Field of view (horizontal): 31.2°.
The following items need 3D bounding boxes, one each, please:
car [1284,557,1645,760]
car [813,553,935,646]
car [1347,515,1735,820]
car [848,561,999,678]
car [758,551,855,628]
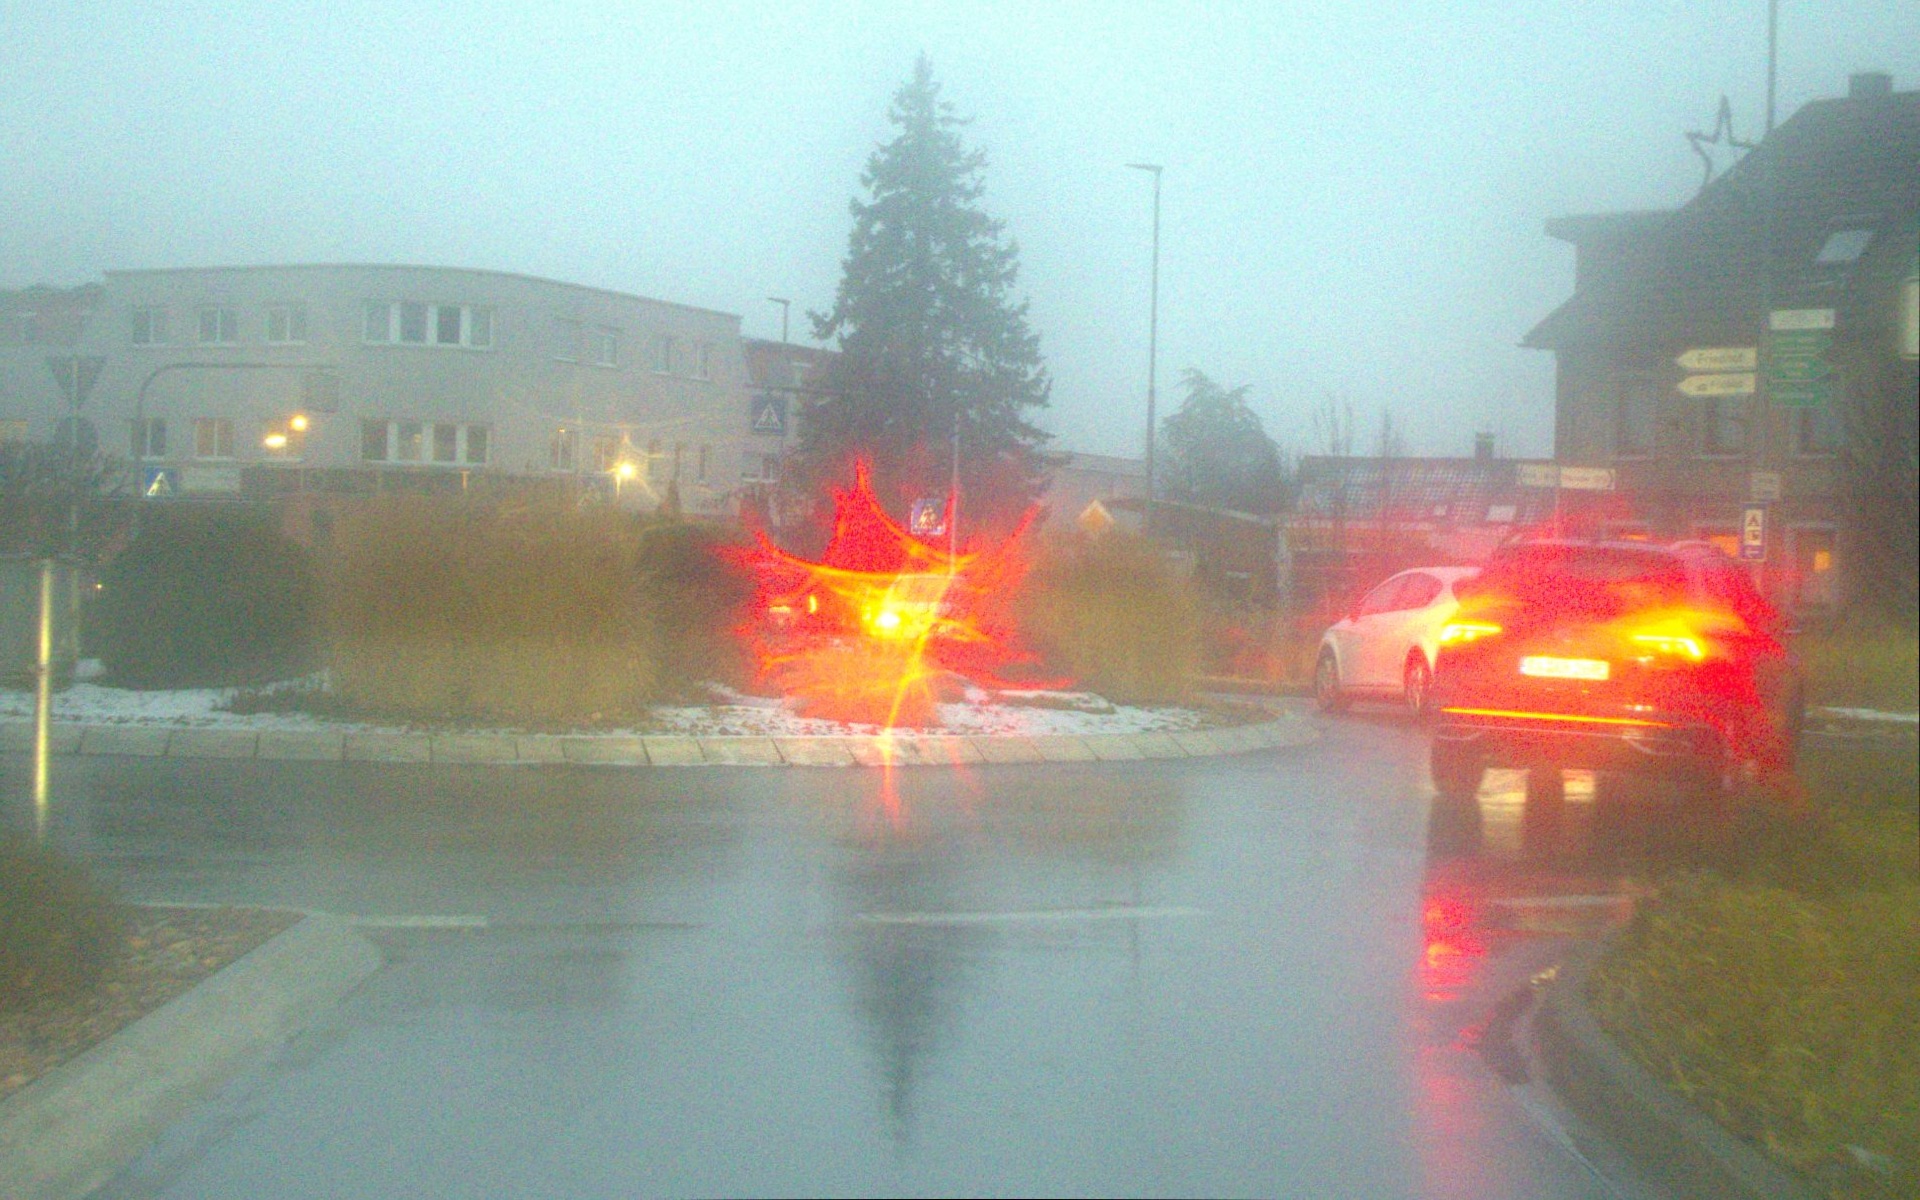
[{"bbox_3d":[4.751,0.504,33.113,2.163,1.683,4.573,1,2,-9],"label":"car"},{"bbox_3d":[-1.556,0.026,60.843,1.882,1.543,4.572,1,-1,-5],"label":"car"},{"bbox_3d":[3.616,0.373,22.096,1.944,1.712,4.000,2,1,3],"label":"car"},{"bbox_3d":[-0.589,0.314,50.545,1.882,1.609,4.572,1,-1,-5],"label":"car"},{"bbox_3d":[-3.238,-0.218,71.827,1.772,1.539,4.001,1,0,-6],"label":"car"}]
